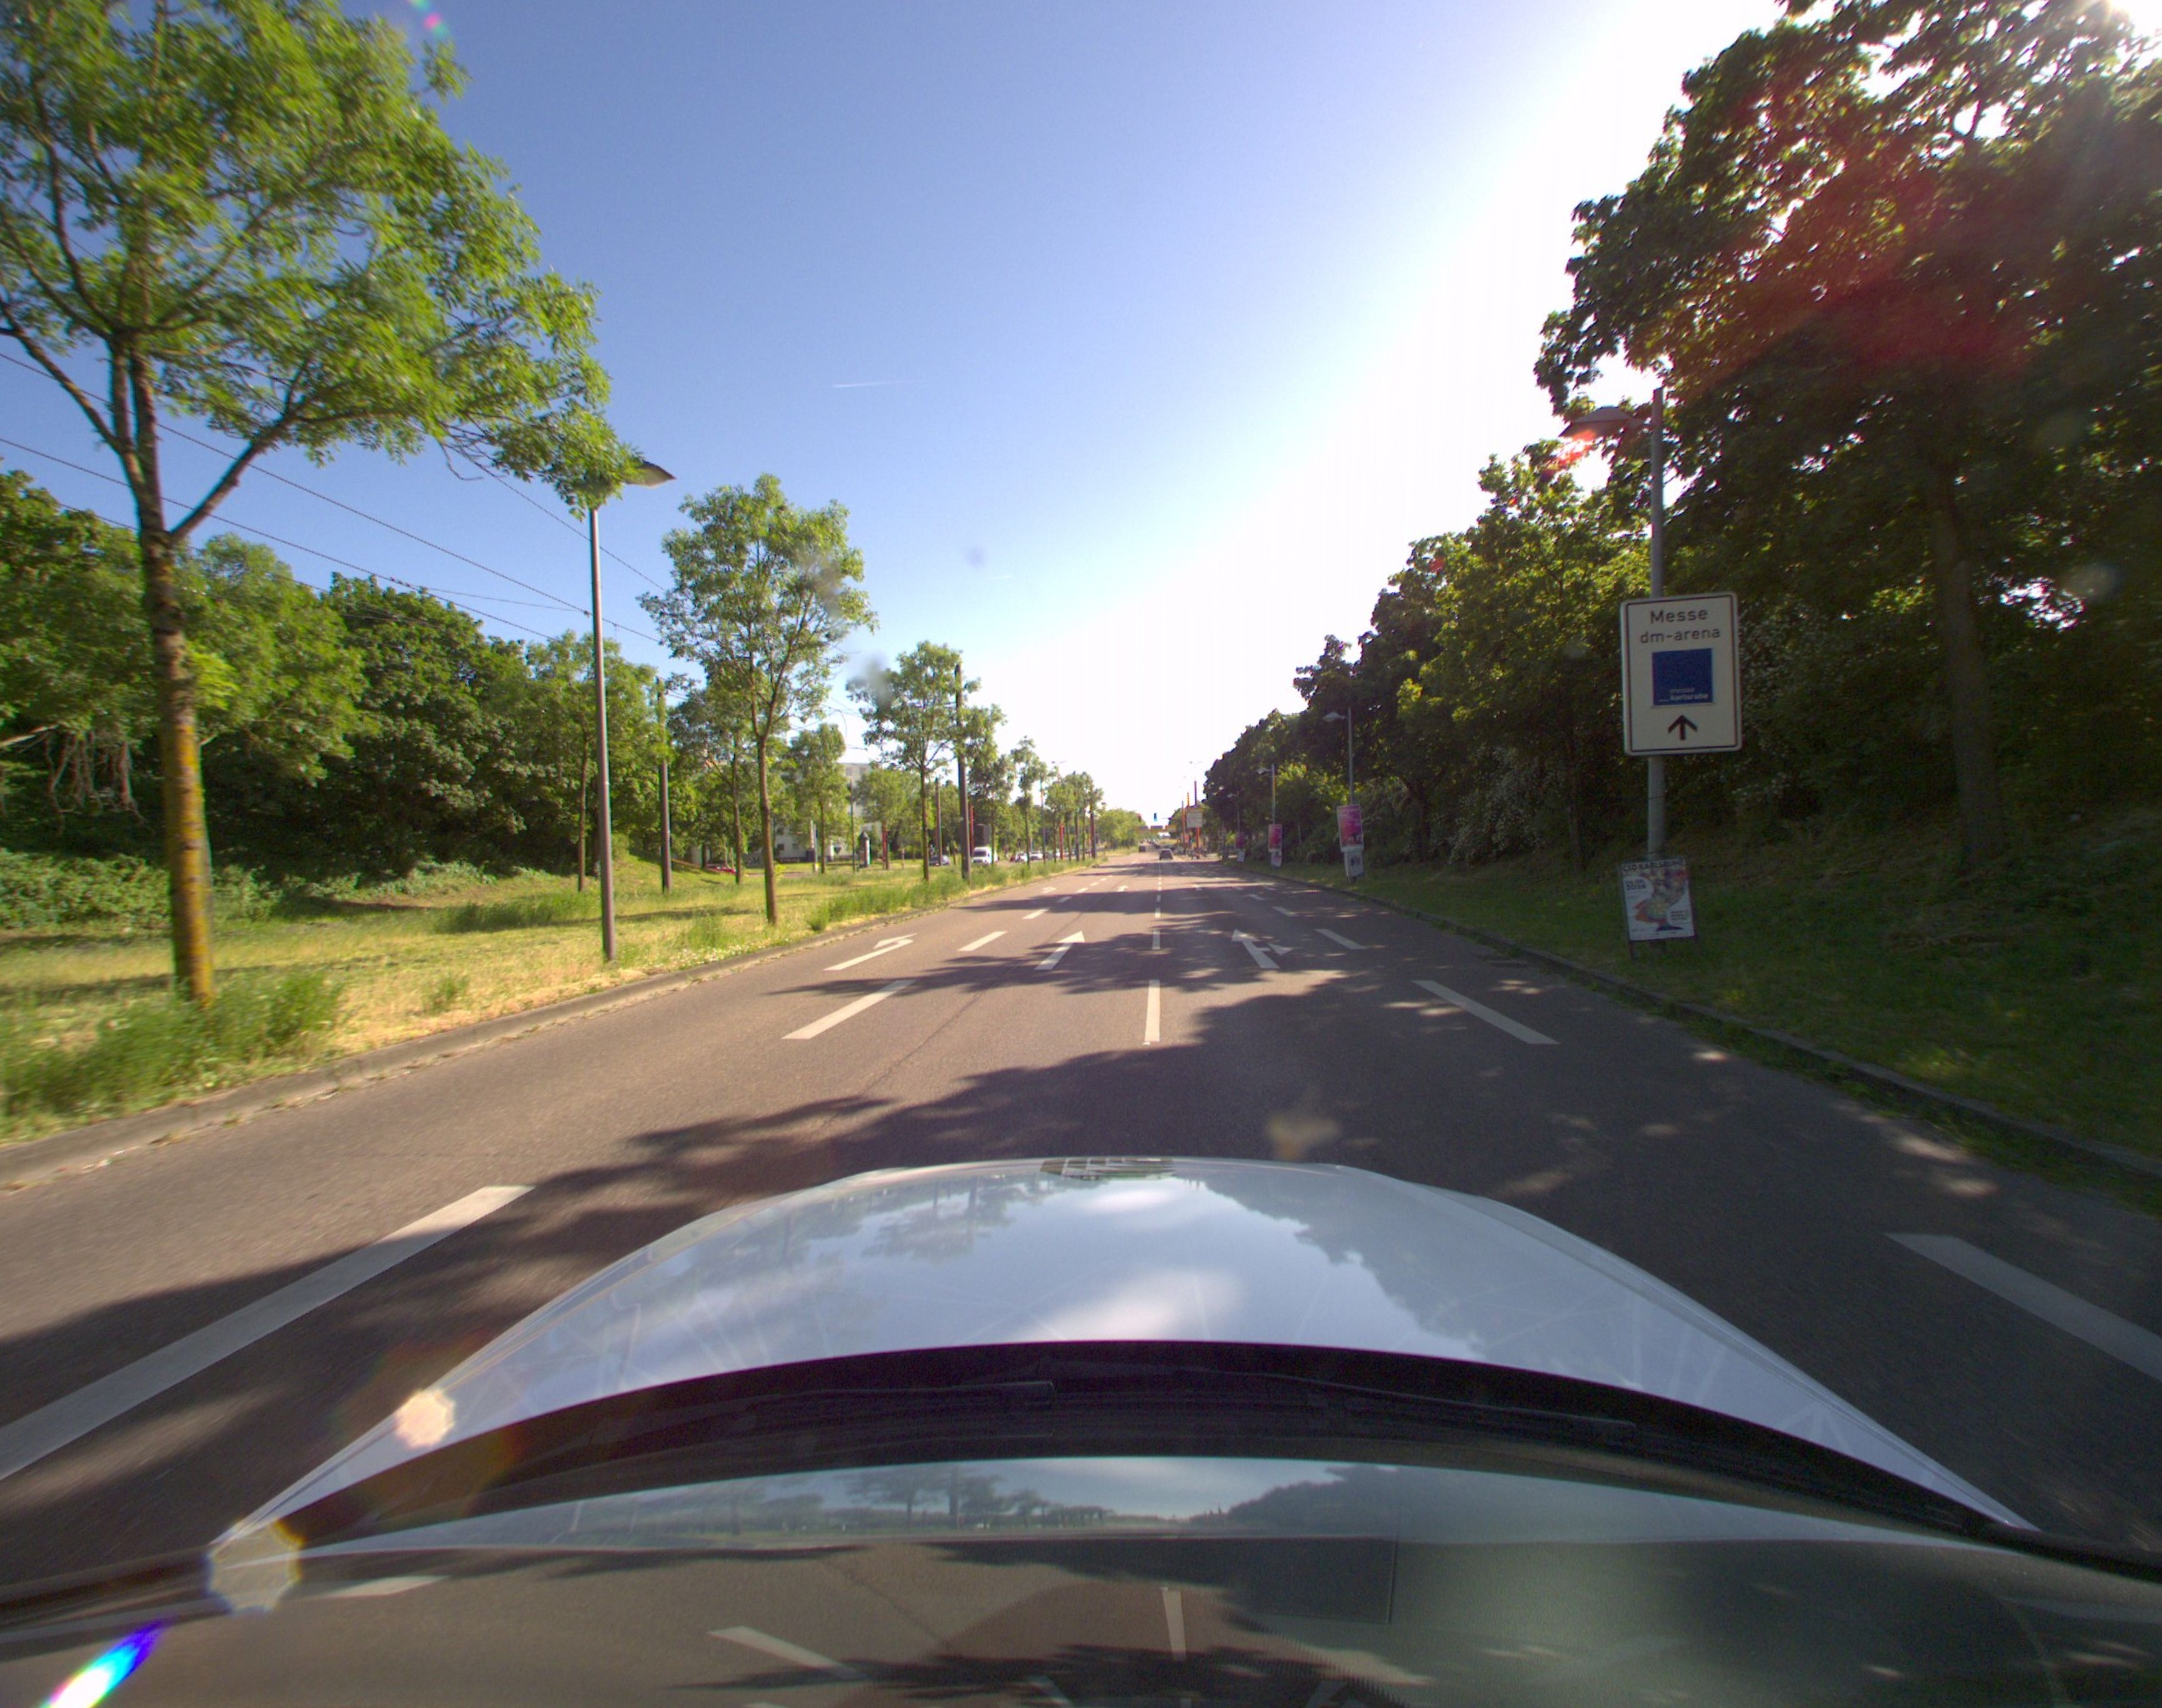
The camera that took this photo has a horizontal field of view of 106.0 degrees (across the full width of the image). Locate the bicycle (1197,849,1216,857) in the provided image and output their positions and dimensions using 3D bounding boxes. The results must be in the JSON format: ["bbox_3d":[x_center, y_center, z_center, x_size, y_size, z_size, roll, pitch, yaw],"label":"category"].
[{"bbox_3d":[16.913,-0.141,109.654,2.403,1.109,0.813,-1,0,4],"label":"bicycle"}]

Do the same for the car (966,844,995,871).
[{"bbox_3d":[-12.350,0.405,100.452,2.455,3.239,6.140,-1,0,3],"label":"car"}]

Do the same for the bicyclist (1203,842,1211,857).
[{"bbox_3d":[16.983,-0.587,109.648,1.004,2.007,0.813,-1,0,5],"label":"bicyclist"}]

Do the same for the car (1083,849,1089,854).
[{"bbox_3d":[1.422,-0.748,236.457,1.624,1.445,4.196,-1,0,3],"label":"car"}]

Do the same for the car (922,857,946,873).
[{"bbox_3d":[-16.262,1.191,90.220,1.624,1.680,4.196,-1,0,3],"label":"car"}]

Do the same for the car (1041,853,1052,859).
[{"bbox_3d":[-6.636,0.328,156.815,1.624,1.111,4.196,-1,0,3],"label":"car"}]

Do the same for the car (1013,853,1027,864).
[{"bbox_3d":[-9.701,0.761,129.529,1.624,1.680,4.196,-1,0,3],"label":"car"}]

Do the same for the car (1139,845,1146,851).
[{"bbox_3d":[15.967,-1.445,210.750,1.626,1.498,4.241,-1,0,6],"label":"car"}]

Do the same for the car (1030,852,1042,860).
[{"bbox_3d":[-7.867,0.356,141.867,1.624,1.445,4.196,-1,0,3],"label":"car"}]

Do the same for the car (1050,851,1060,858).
[{"bbox_3d":[-5.437,0.116,167.768,1.624,1.445,4.196,-1,0,3],"label":"car"}]

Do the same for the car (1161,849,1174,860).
[{"bbox_3d":[11.796,0.067,111.269,1.626,1.498,4.241,-1,0,6],"label":"car"}]

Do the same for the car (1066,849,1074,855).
[{"bbox_3d":[-2.687,-0.410,194.155,1.624,1.445,4.196,-1,0,3],"label":"car"}]

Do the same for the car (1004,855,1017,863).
[{"bbox_3d":[-12.235,0.824,141.169,1.624,1.288,4.103,-1,0,3],"label":"car"}]
